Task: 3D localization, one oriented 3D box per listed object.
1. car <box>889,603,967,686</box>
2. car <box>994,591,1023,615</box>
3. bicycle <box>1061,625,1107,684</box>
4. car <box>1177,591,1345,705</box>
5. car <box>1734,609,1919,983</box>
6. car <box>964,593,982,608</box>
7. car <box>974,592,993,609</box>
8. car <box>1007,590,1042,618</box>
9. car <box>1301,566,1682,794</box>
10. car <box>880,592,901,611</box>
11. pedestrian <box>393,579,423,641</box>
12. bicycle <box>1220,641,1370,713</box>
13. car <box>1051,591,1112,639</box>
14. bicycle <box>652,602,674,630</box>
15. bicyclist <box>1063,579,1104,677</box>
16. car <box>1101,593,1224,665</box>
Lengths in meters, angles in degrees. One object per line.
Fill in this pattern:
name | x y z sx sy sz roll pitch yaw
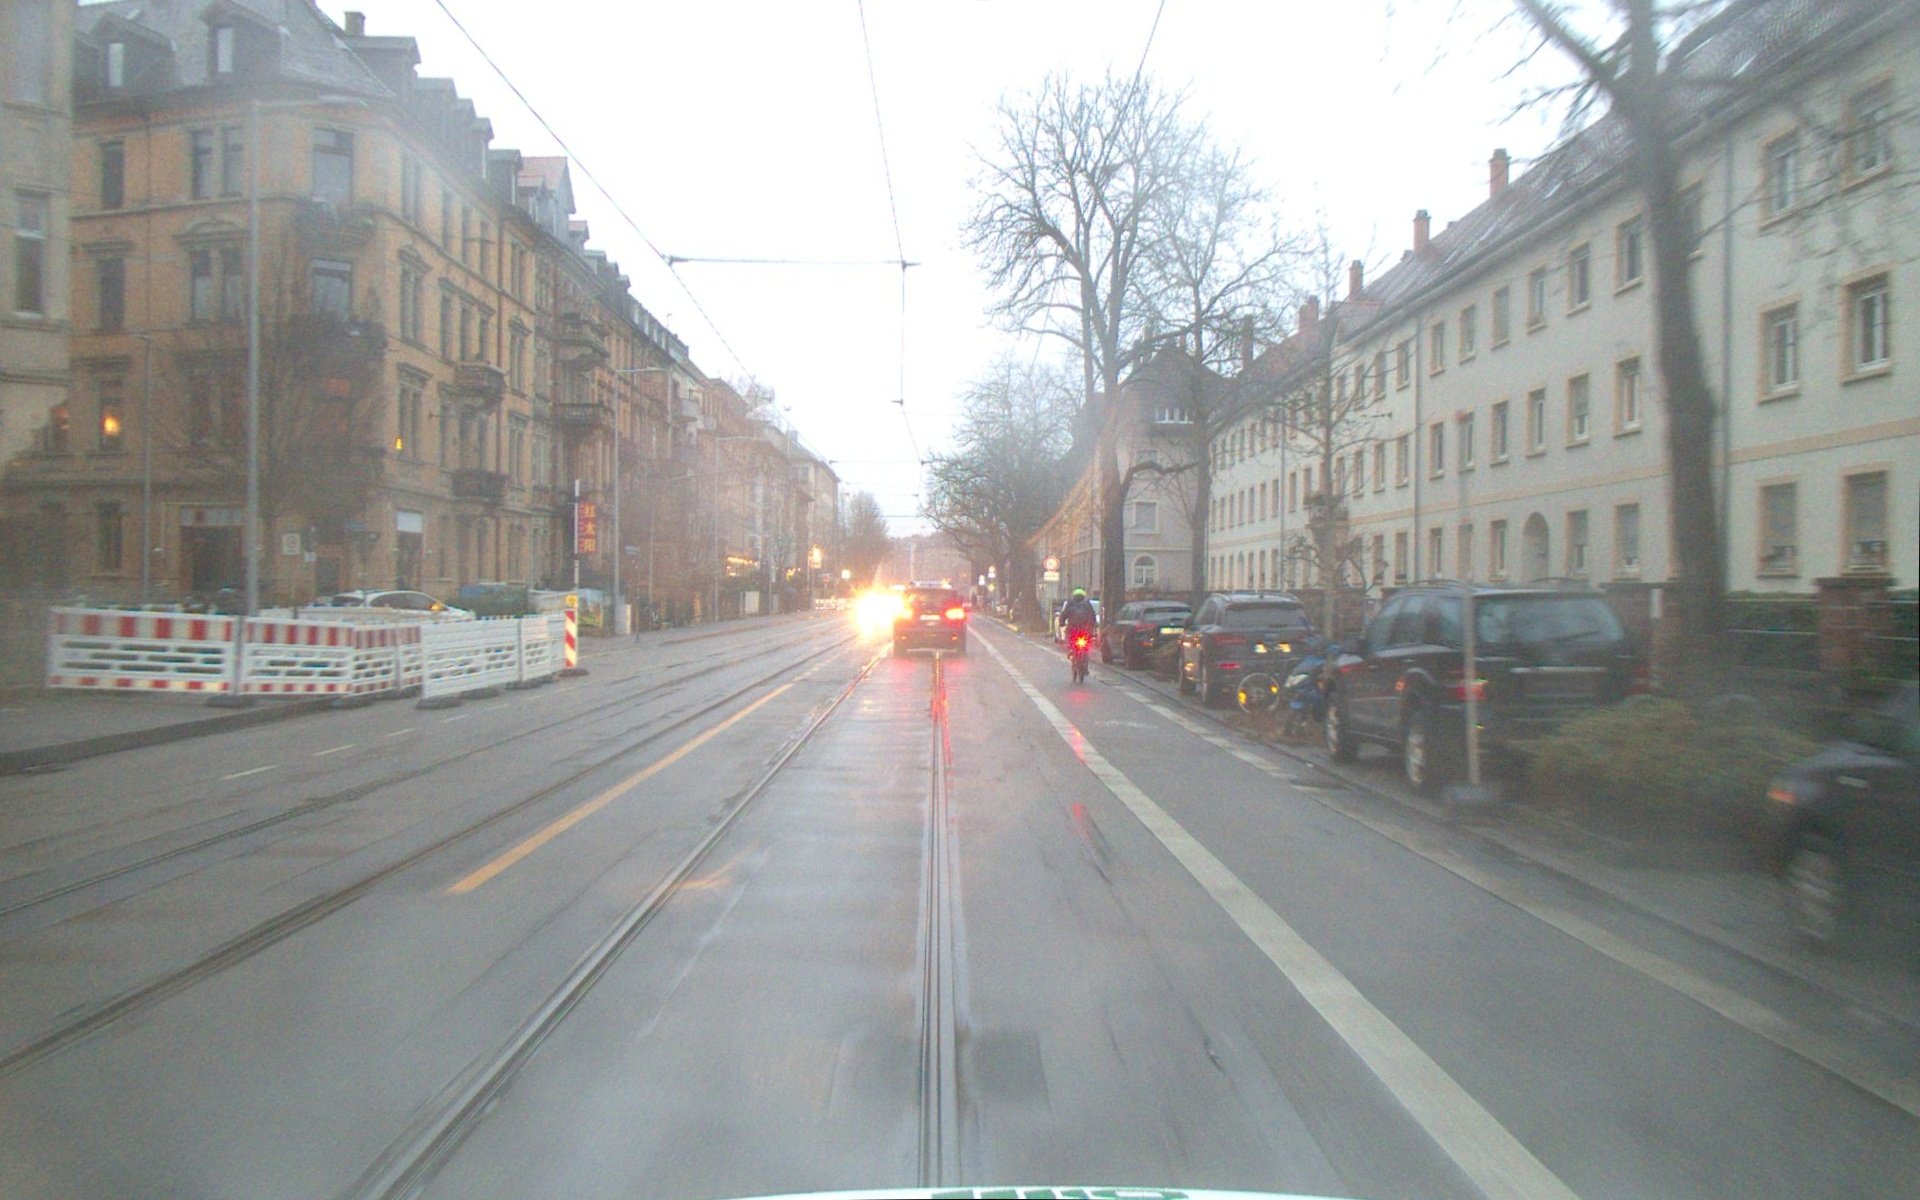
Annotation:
car | -0.775 1.091 42.341 1.765 1.903 4.018 2 0 1
car | 3.256 0.200 111.165 1.749 1.536 4.108 0 0 -1
bicycle | 2.269 0.980 30.422 0.716 1.024 1.764 0 0 0
car | 4.632 0.683 26.106 1.866 1.638 4.561 0 0 1
car | 4.878 0.824 6.490 1.749 1.536 3.986 0 0 -1
car | 1.333 0.041 169.968 1.749 1.536 4.108 0 0 -1
car | 2.210 0.028 156.702 1.749 1.536 4.108 0 0 -1
car | 3.626 0.192 93.145 1.749 1.536 4.108 0 0 -1
car | 4.650 0.610 15.340 1.867 1.758 4.901 0 0 -1
car | -6.365 0.116 151.949 1.884 1.691 3.999 0 0 -1
pedestrian | -16.313 0.283 48.852 0.711 1.804 0.762 0 0 -31
bicycle | 4.555 1.053 22.595 1.970 0.932 0.465 -1 0 8
car | 3.999 0.467 55.087 1.749 1.536 4.108 0 0 0
bicycle | -11.225 0.596 62.492 0.485 1.024 1.764 0 0 0
bicyclist | 2.266 0.506 30.404 0.715 1.767 0.765 0 0 0
car | 4.465 0.596 37.039 1.842 1.444 4.339 -2 0 -5
